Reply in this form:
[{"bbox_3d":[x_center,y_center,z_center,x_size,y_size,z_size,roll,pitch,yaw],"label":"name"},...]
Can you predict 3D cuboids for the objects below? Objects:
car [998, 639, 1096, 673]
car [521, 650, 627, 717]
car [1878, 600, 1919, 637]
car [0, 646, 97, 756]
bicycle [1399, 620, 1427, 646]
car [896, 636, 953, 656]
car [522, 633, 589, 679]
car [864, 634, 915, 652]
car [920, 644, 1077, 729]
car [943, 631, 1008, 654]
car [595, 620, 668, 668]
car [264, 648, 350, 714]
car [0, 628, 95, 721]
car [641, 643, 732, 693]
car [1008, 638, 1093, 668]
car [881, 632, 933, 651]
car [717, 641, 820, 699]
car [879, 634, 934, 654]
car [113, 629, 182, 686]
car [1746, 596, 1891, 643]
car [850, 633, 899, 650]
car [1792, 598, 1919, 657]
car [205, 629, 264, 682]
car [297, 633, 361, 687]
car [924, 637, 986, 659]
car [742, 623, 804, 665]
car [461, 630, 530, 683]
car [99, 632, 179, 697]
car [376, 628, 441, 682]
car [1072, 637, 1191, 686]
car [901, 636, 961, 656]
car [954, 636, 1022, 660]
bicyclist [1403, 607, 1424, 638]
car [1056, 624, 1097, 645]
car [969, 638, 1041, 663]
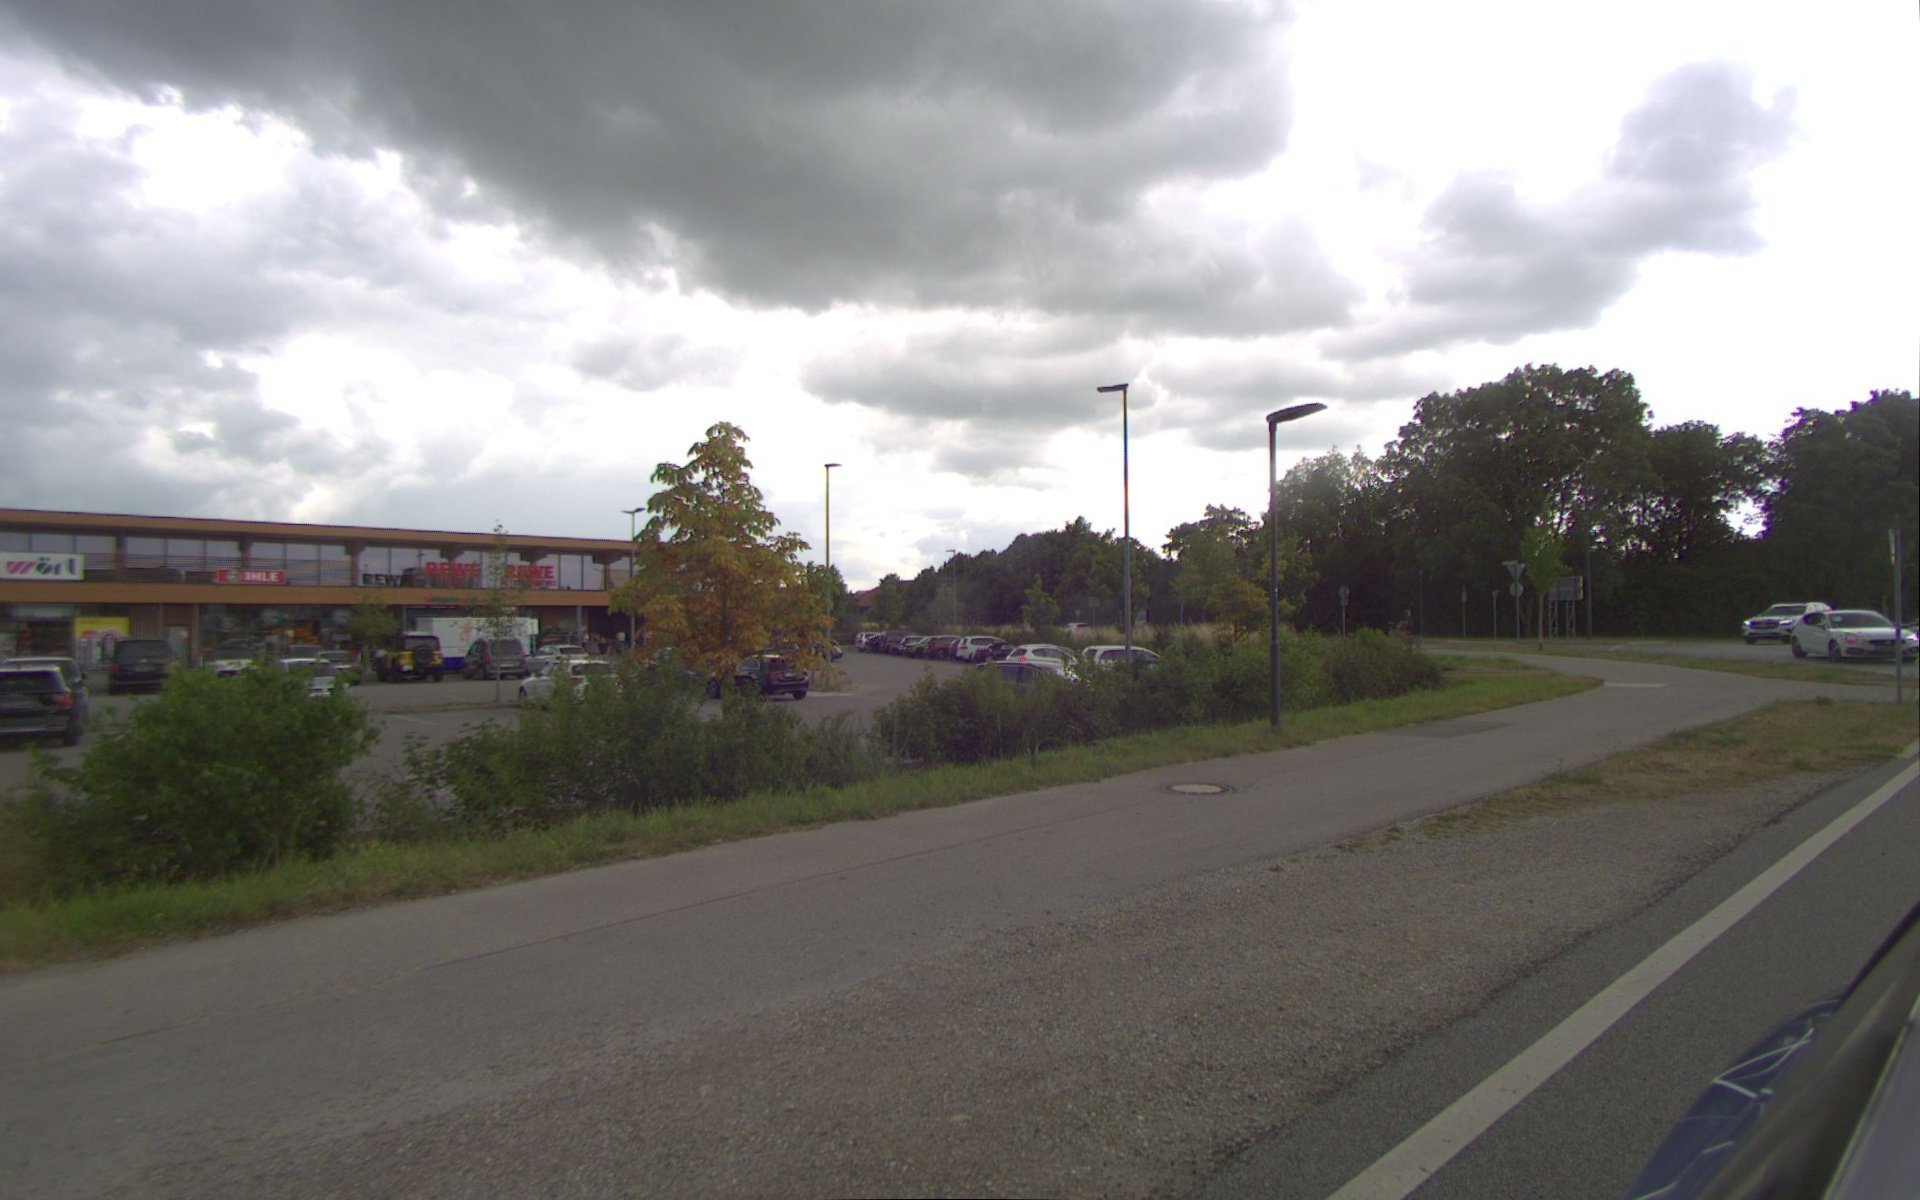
[{"bbox_3d":[3.849,2.463,45.005,3.916,1.377,1.848,1,0,-21],"label":"car"},{"bbox_3d":[-11.096,2.328,28.998,1.723,1.552,3.554,1,0,-41],"label":"car"},{"bbox_3d":[42.033,0.817,43.181,3.715,1.538,1.991,1,0,14],"label":"car"},{"bbox_3d":[-19.642,2.032,21.213,1.962,1.894,4.274,1,0,-36],"label":"car"},{"bbox_3d":[18.466,1.333,41.260,0.557,0.974,1.301,1,0,0],"label":"bicycle"},{"bbox_3d":[-2.633,3.408,74.612,3.916,1.377,1.705,1,0,-13],"label":"car"},{"bbox_3d":[-18.896,2.558,47.199,2.032,1.871,4.000,1,0,-36],"label":"car"},{"bbox_3d":[-5.718,3.504,82.467,3.916,1.377,1.705,1,0,-13],"label":"car"},{"bbox_3d":[0.884,2.081,25.353,1.629,1.727,3.993,1,0,-41],"label":"car"},{"bbox_3d":[1.003,2.792,66.350,3.916,1.377,1.705,1,0,-13],"label":"car"},{"bbox_3d":[-14.855,1.928,45.628,1.962,1.894,4.274,1,0,-36],"label":"car"},{"bbox_3d":[-19.516,2.336,30.186,1.962,1.571,4.131,1,0,-36],"label":"car"},{"bbox_3d":[-23.689,1.824,25.901,1.962,2.039,3.999,1,0,-36],"label":"car"},{"bbox_3d":[-10.199,2.470,37.557,1.962,1.504,4.131,1,0,-36],"label":"car"},{"bbox_3d":[4.552,2.654,50.940,3.916,1.377,1.705,1,0,-13],"label":"car"},{"bbox_3d":[-4.198,3.293,79.927,3.916,1.377,1.705,1,0,-13],"label":"car"},{"bbox_3d":[-6.167,2.214,32.392,1.771,1.728,3.385,1,-3,-41],"label":"car"},{"bbox_3d":[-4.107,3.359,77.268,3.916,1.377,1.705,1,0,-13],"label":"car"},{"bbox_3d":[-33.632,2.327,41.973,1.962,2.039,4.123,1,0,-36],"label":"car"},{"bbox_3d":[33.347,0.713,39.456,3.966,1.705,1.979,1,0,30],"label":"car"},{"bbox_3d":[-7.219,3.521,85.439,3.916,1.377,1.705,1,0,-13],"label":"car"},{"bbox_3d":[25.674,0.738,28.710,1.848,1.561,4.171,-1,-1,20],"label":"car"},{"bbox_3d":[-31.395,2.338,43.828,1.962,2.039,3.999,1,0,-36],"label":"car"},{"bbox_3d":[-25.669,2.396,41.124,1.962,2.040,3.998,1,-3,-36],"label":"car"},{"bbox_3d":[-0.378,3.261,68.785,3.916,1.377,1.705,0,0,-13],"label":"car"},{"bbox_3d":[-10.131,2.344,54.669,1.961,2.039,4.003,1,0,-32],"label":"car"},{"bbox_3d":[-20.568,2.431,44.726,2.032,2.039,3.999,1,0,-36],"label":"car"},{"bbox_3d":[-29.831,2.269,36.878,1.962,2.039,3.999,1,0,-36],"label":"car"},{"bbox_3d":[-23.591,2.297,43.229,1.962,2.039,3.999,1,0,-36],"label":"car"},{"bbox_3d":[6.557,2.354,38.929,4.154,1.738,1.705,1,0,-13],"label":"car"},{"bbox_3d":[-2.068,3.245,71.510,3.916,1.377,1.705,1,0,-13],"label":"car"},{"bbox_3d":[1.711,3.006,63.217,3.916,1.377,1.705,1,0,-13],"label":"car"},{"bbox_3d":[18.479,0.911,41.275,0.545,1.259,0.659,1,0,0],"label":"bicyclist"},{"bbox_3d":[10.953,3.267,95.664,1.959,1.794,4.080,1,0,-26],"label":"car"},{"bbox_3d":[2.661,2.972,59.976,3.916,1.377,1.705,1,0,-13],"label":"car"}]
